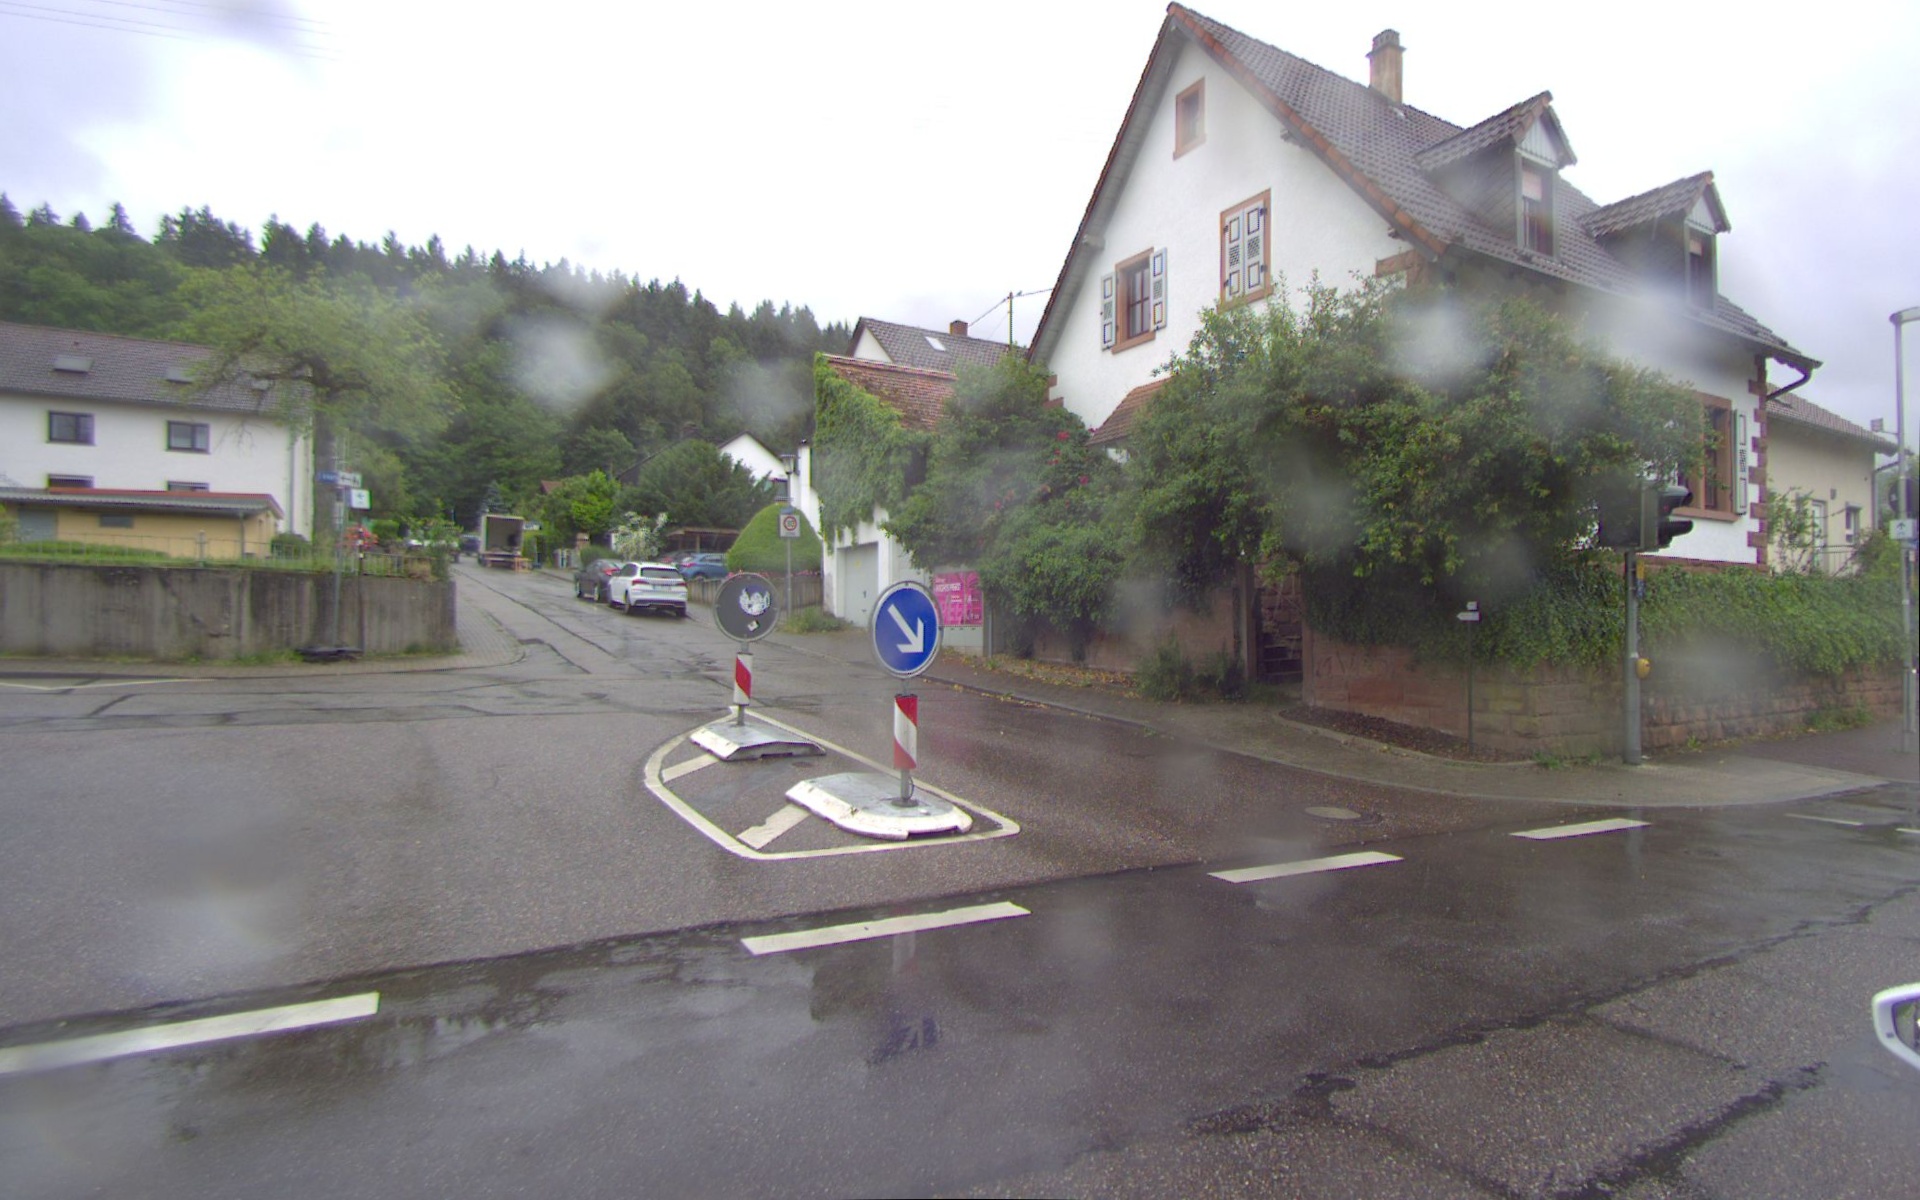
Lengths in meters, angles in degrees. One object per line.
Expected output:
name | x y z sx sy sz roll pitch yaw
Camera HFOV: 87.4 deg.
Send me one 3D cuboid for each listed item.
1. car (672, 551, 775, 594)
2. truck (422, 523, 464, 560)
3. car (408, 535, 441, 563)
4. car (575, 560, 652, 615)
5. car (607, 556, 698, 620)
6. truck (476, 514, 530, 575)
car | -10.124 -1.179 43.016 3.846 1.535 1.884 2 5 -31
truck | -33.804 -3.768 65.574 2.272 2.155 6.033 2 1 -29
car | -41.264 -3.925 77.341 1.896 2.040 3.963 2 1 -33
car | -12.192 -0.471 35.215 1.878 1.535 3.860 2 5 -29
car | -9.495 -0.412 30.807 1.878 1.535 3.860 2 5 -29
truck | -28.006 -3.317 61.364 2.424 3.397 6.606 2 1 -29
